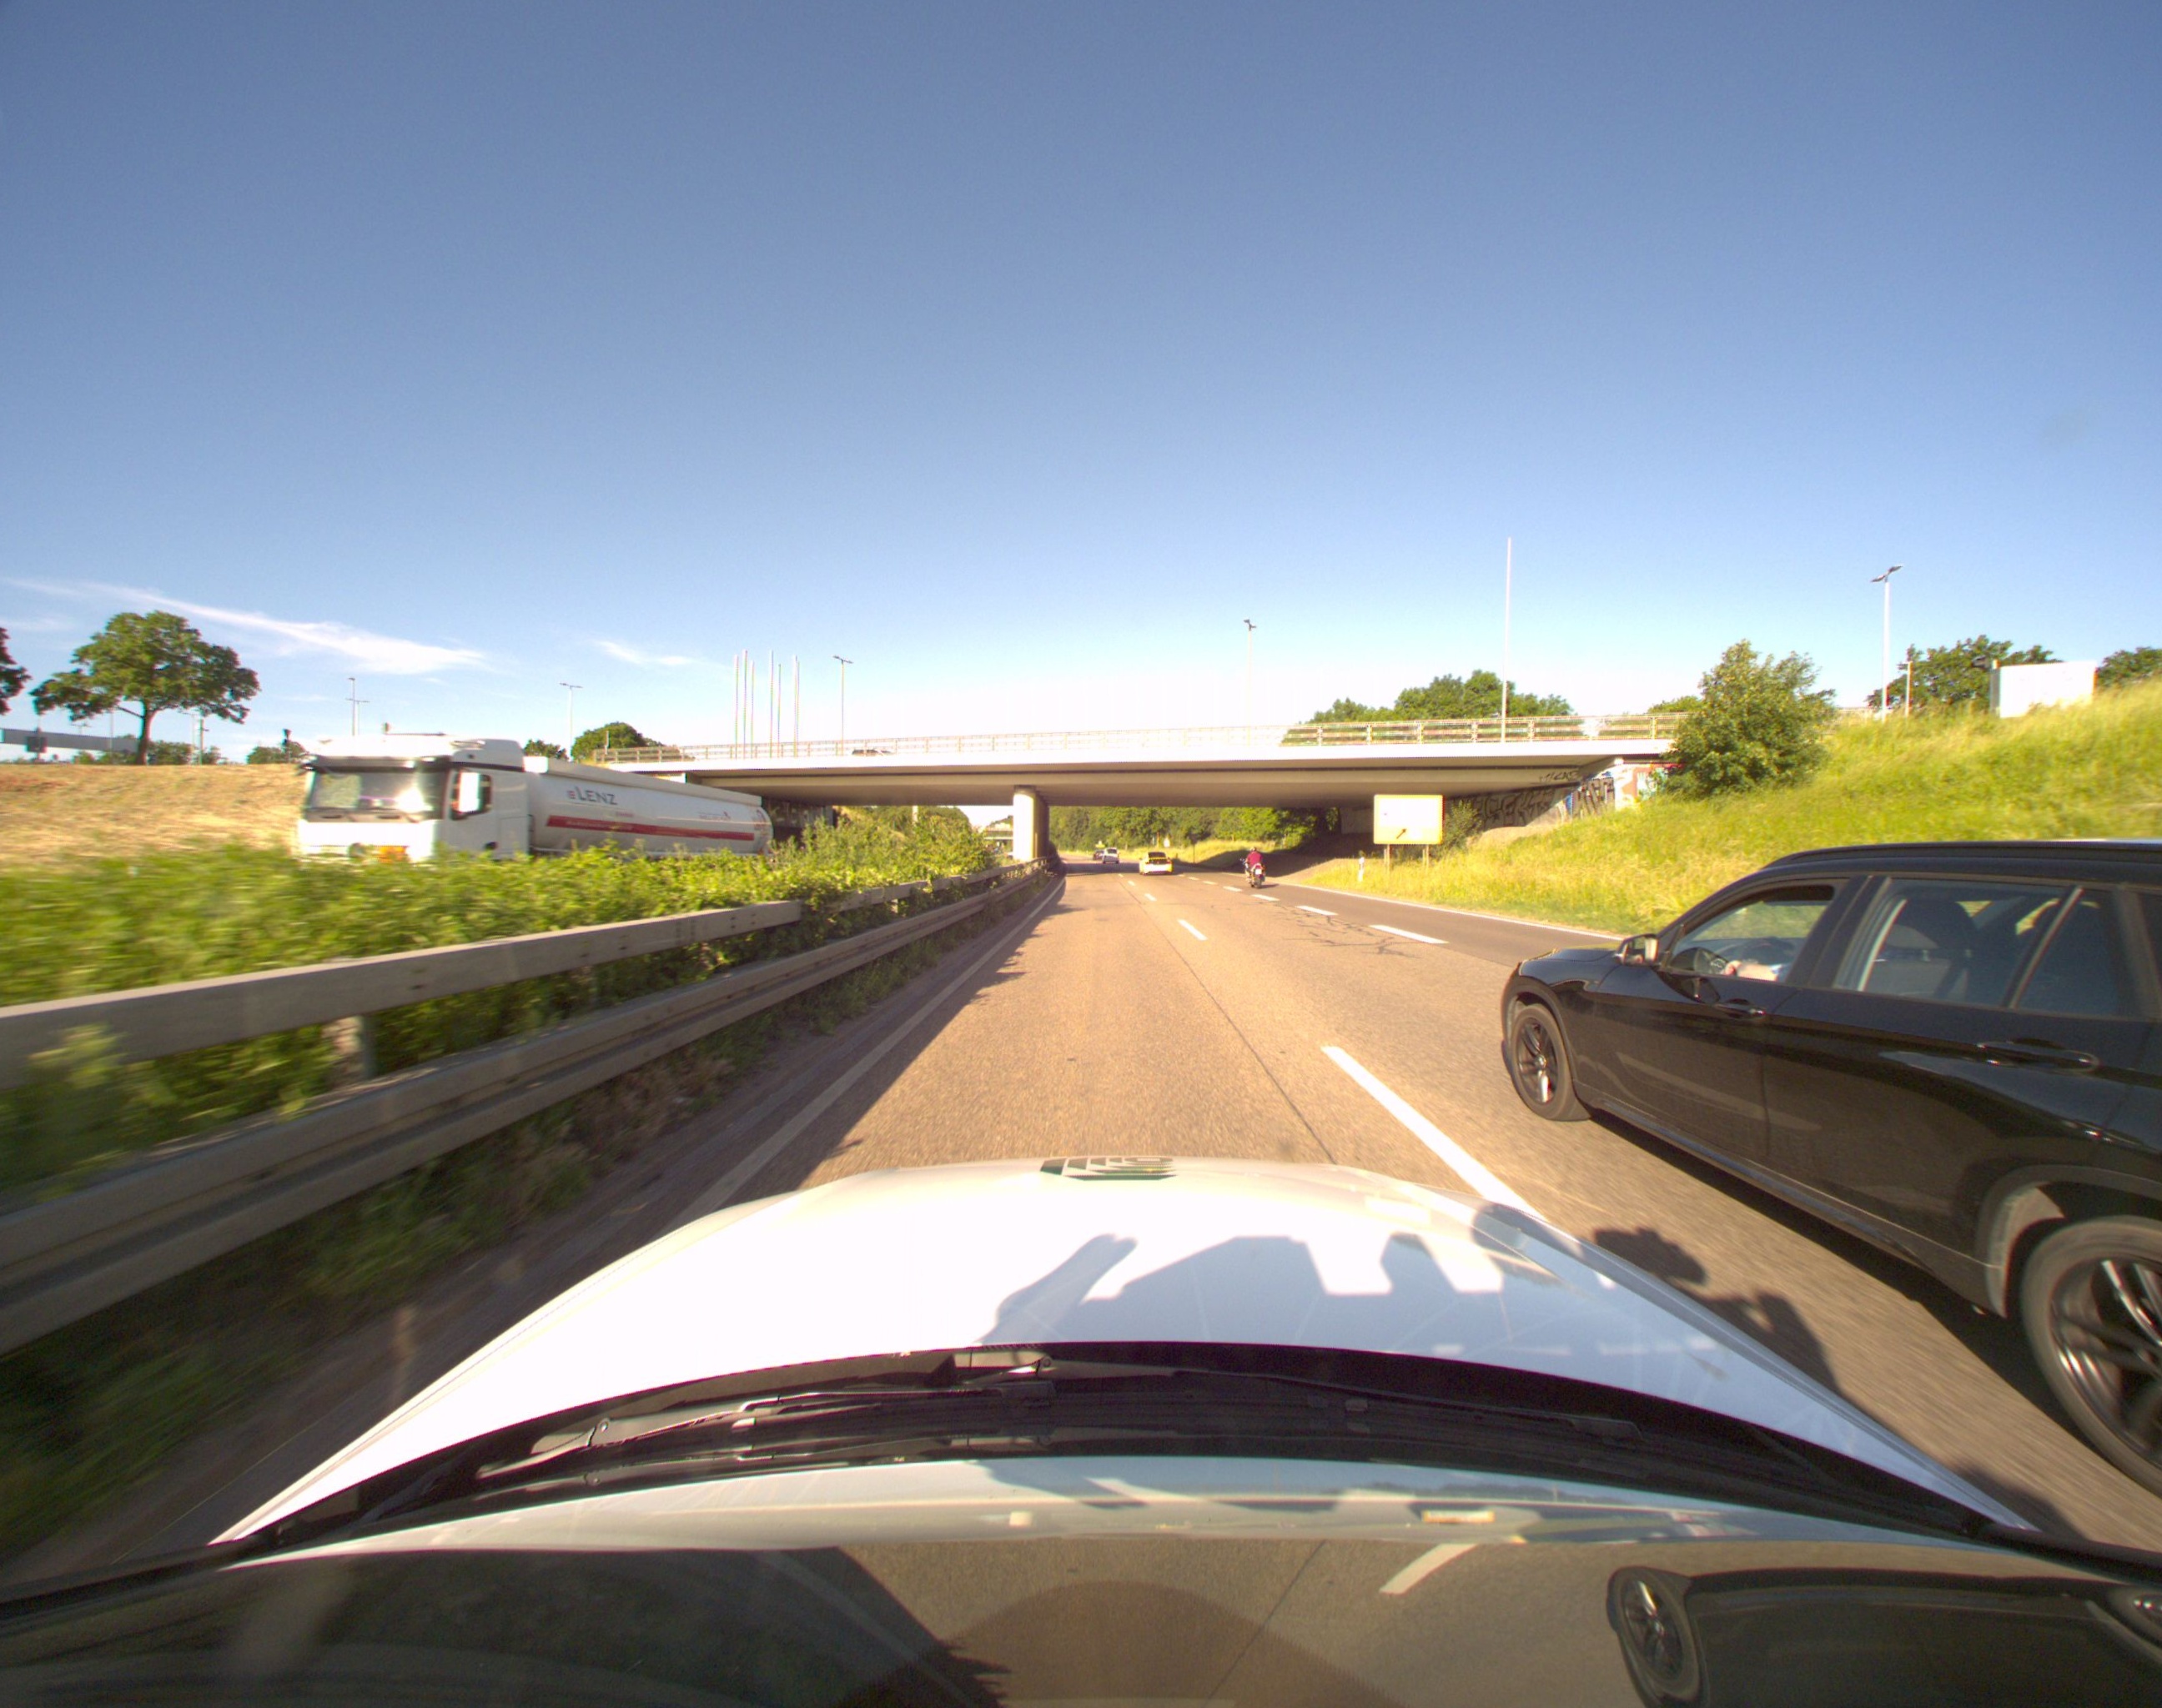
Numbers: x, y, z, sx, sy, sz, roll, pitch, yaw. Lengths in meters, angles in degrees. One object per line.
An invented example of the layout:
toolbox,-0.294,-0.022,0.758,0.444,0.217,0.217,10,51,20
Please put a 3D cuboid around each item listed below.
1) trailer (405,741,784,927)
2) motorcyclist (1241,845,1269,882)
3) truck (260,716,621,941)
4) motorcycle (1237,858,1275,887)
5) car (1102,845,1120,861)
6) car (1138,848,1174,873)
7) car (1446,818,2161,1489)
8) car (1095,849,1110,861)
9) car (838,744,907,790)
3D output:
trailer,-11.831,-0.431,22.185,2.766,3.657,12.208,0,0,1
motorcyclist,6.943,0.372,32.547,0.814,1.447,1.093,-1,0,-2
truck,-11.946,-0.435,15.942,2.766,3.657,5.325,0,0,1
motorcycle,6.943,0.700,32.432,0.814,1.069,2.834,-1,0,-2
car,3.457,-0.127,94.023,1.891,1.767,3.999,-2,0,0
car,4.694,0.367,51.410,1.891,1.471,4.000,-1,1,0
car,3.316,0.644,3.333,1.692,1.506,4.581,-2,0,2
car,3.100,0.147,117.621,1.892,1.767,3.998,-1,0,-2
car,-14.528,-6.034,56.861,4.271,2.805,2.093,0,0,24
